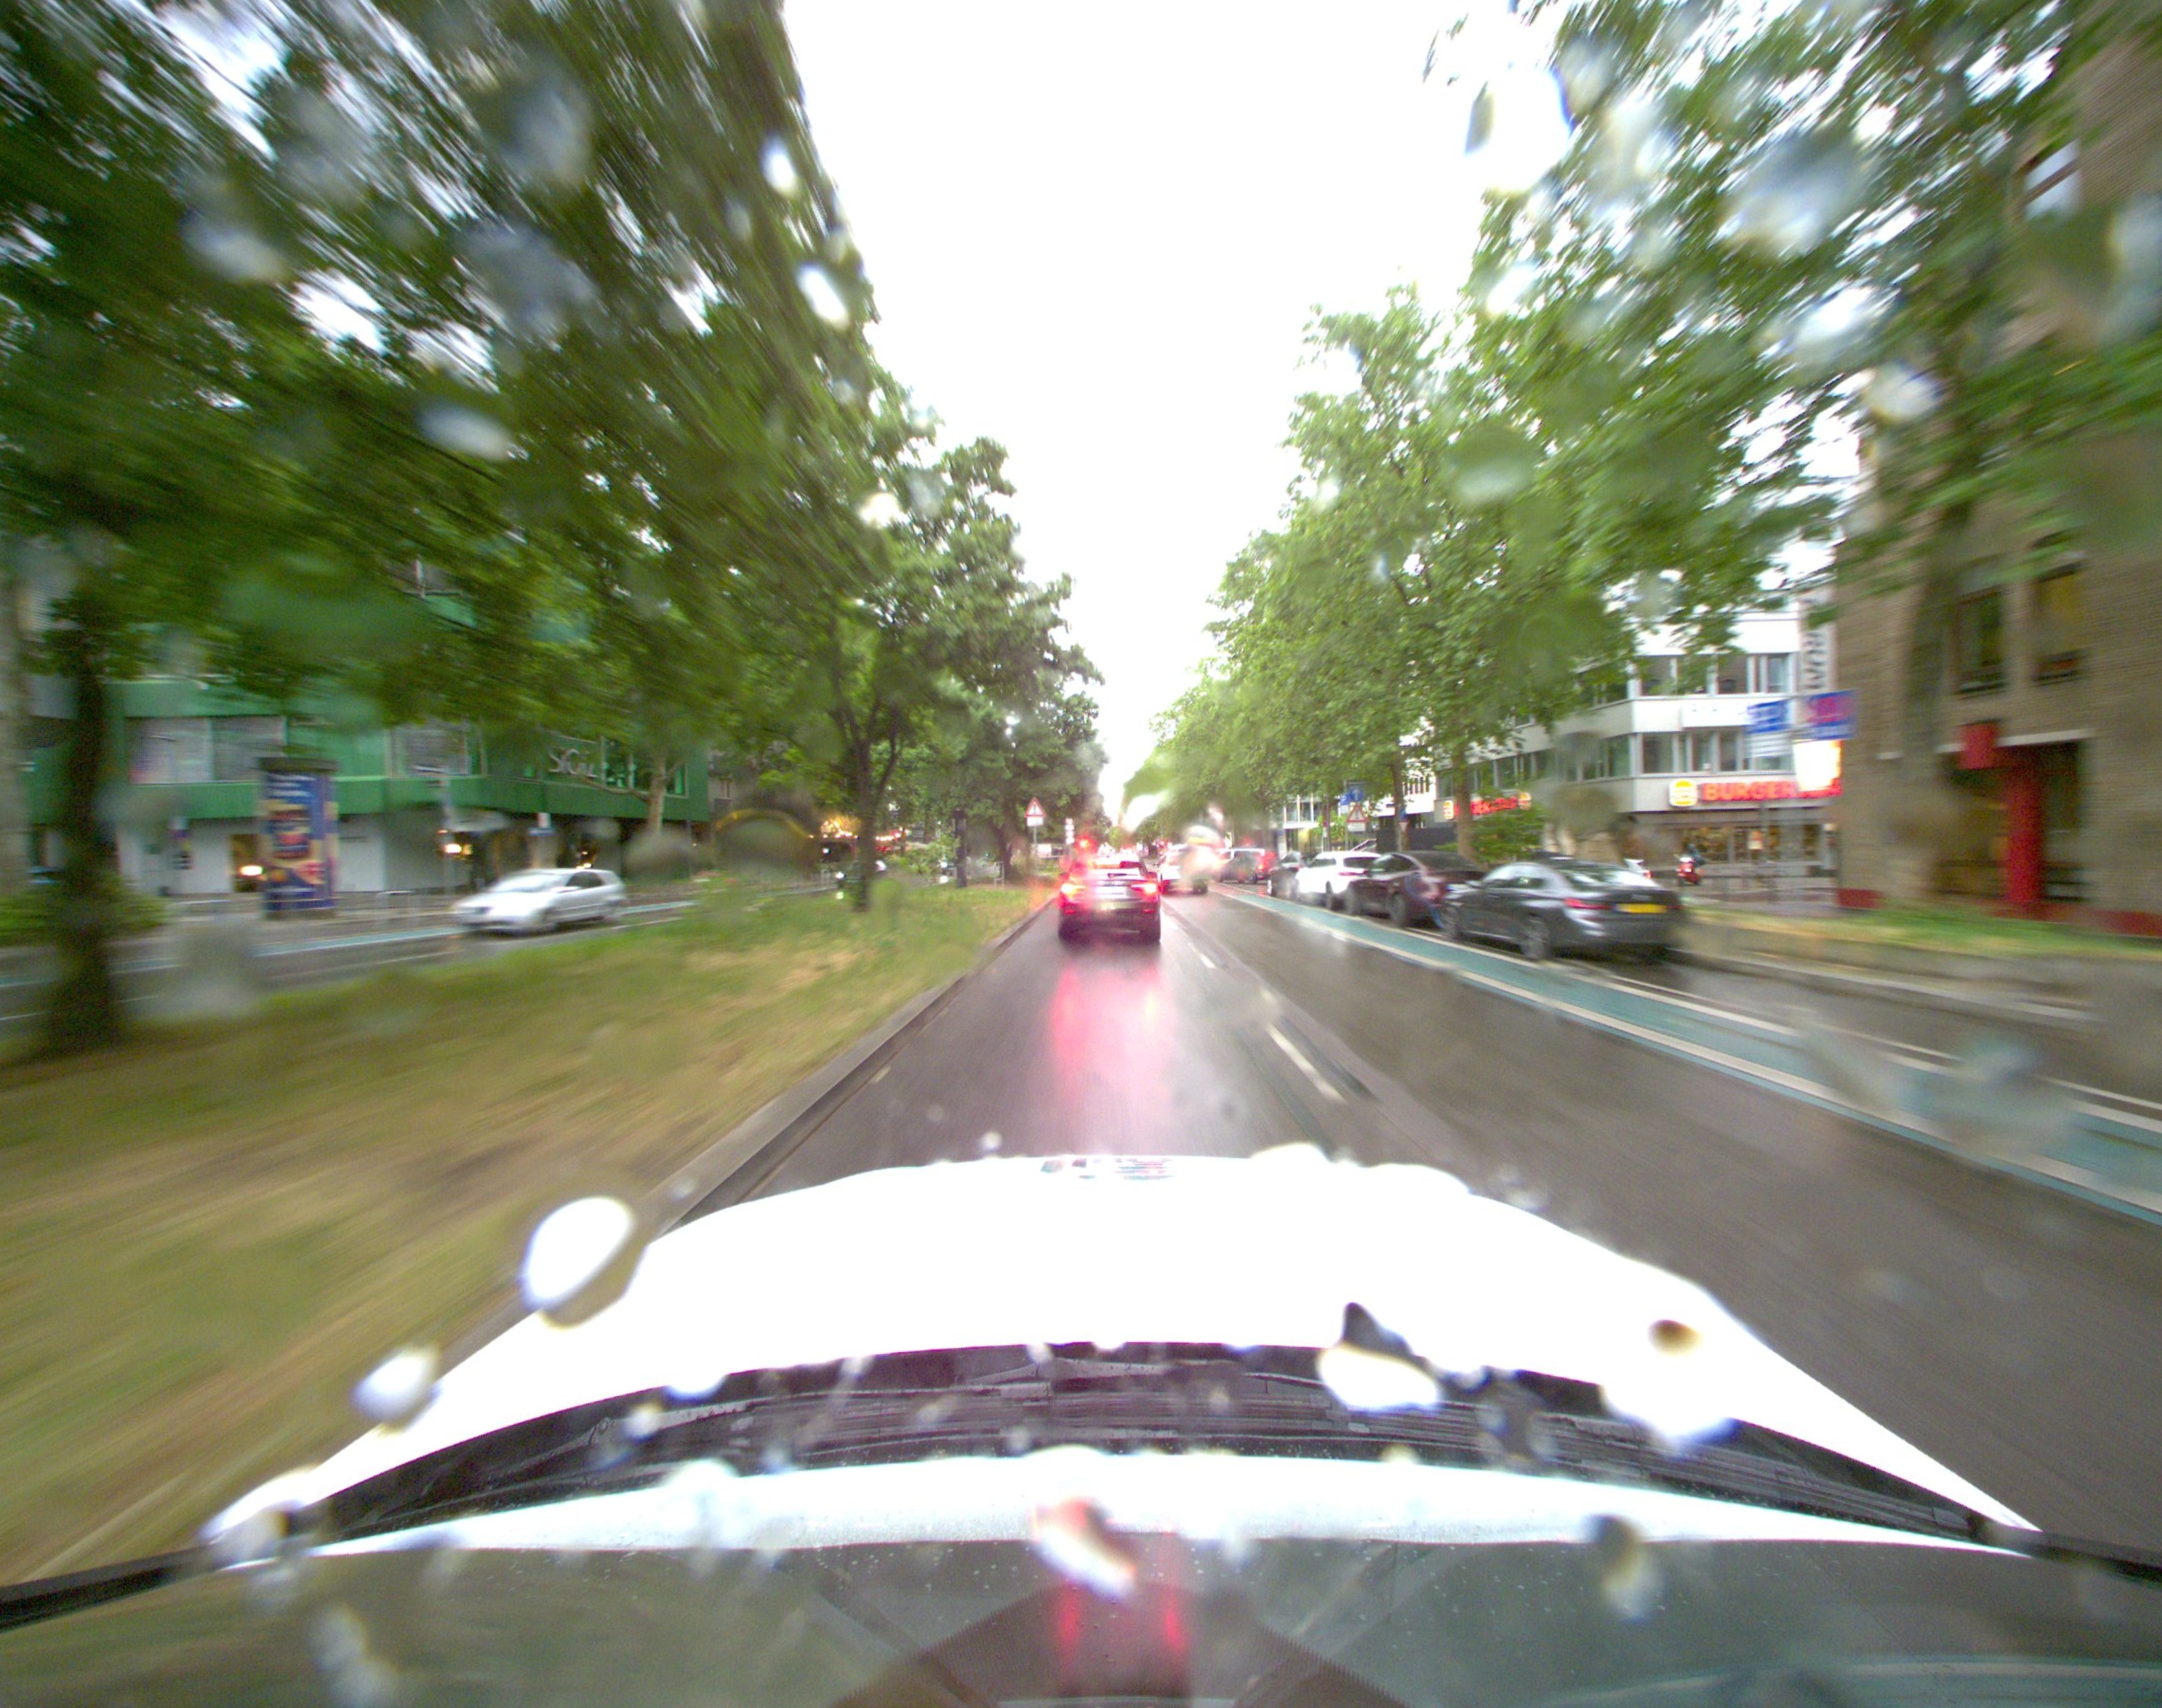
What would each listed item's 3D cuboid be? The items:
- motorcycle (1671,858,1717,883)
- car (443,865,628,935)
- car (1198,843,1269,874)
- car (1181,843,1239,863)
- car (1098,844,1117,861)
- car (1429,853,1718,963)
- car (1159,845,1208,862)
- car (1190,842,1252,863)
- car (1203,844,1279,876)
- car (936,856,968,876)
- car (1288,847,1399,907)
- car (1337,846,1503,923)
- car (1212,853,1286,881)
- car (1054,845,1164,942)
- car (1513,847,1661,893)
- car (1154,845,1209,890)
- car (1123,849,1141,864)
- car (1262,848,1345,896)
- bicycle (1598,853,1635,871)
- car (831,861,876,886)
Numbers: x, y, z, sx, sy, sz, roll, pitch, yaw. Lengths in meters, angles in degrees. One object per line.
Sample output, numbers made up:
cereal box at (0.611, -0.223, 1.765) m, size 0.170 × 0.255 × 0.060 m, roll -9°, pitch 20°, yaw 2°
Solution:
motorcycle at (24.973, 0.663, 33.169) m, size 1.421 × 1.030 × 0.620 m, roll 0°, pitch -1°, yaw -1°
car at (-12.587, 1.004, 19.116) m, size 1.642 × 1.435 × 3.814 m, roll -1°, pitch -1°, yaw 2°
car at (11.285, 0.346, 60.352) m, size 4.834 × 2.254 × 2.012 m, roll 0°, pitch -1°, yaw 30°
car at (11.202, -0.100, 70.864) m, size 4.594 × 1.706 × 2.012 m, roll 0°, pitch -1°, yaw 29°
car at (2.839, -0.109, 87.032) m, size 1.986 × 1.726 × 4.000 m, roll 0°, pitch -1°, yaw 1°
car at (7.347, 0.705, 12.832) m, size 1.866 × 1.421 × 4.612 m, roll 0°, pitch 0°, yaw 1°
car at (10.702, -0.032, 84.915) m, size 4.594 × 1.706 × 2.012 m, roll 0°, pitch -1°, yaw 29°
car at (11.538, -0.119, 67.189) m, size 4.594 × 1.706 × 2.012 m, roll 0°, pitch -1°, yaw 29°
car at (10.535, 0.415, 53.759) m, size 4.548 × 2.014 × 1.980 m, roll 0°, pitch -1°, yaw 39°
car at (-11.000, 1.022, 69.851) m, size 1.753 × 1.703 × 4.337 m, roll 0°, pitch -1°, yaw 4°
car at (7.387, 0.631, 23.357) m, size 1.723 × 1.571 × 4.069 m, roll 0°, pitch -1°, yaw -3°
car at (7.481, 0.631, 18.524) m, size 1.861 × 1.520 × 4.558 m, roll 0°, pitch -1°, yaw 0°
car at (8.564, 0.658, 41.886) m, size 1.568 × 1.378 × 3.831 m, roll 1°, pitch -1°, yaw -31°
car at (0.494, 0.668, 15.690) m, size 1.843 × 1.602 × 4.000 m, roll -1°, pitch 0°, yaw 0°
car at (18.277, 0.566, 29.656) m, size 4.211 × 1.567 × 2.065 m, roll 0°, pitch -1°, yaw 18°
car at (4.027, 0.542, 33.175) m, size 1.871 × 1.697 × 4.001 m, roll 0°, pitch -1°, yaw 1°
car at (5.910, 0.295, 95.492) m, size 1.986 × 1.651 × 4.001 m, roll 0°, pitch -1°, yaw 2°
car at (7.621, 0.597, 28.221) m, size 1.691 × 1.523 × 4.021 m, roll 0°, pitch -1°, yaw -1°
bicycle at (24.749, 0.372, 37.675) m, size 0.446 × 0.836 × 2.027 m, roll 0°, pitch -1°, yaw 2°
car at (-11.971, 0.999, 42.993) m, size 1.687 × 1.258 × 3.636 m, roll 0°, pitch -1°, yaw -7°
